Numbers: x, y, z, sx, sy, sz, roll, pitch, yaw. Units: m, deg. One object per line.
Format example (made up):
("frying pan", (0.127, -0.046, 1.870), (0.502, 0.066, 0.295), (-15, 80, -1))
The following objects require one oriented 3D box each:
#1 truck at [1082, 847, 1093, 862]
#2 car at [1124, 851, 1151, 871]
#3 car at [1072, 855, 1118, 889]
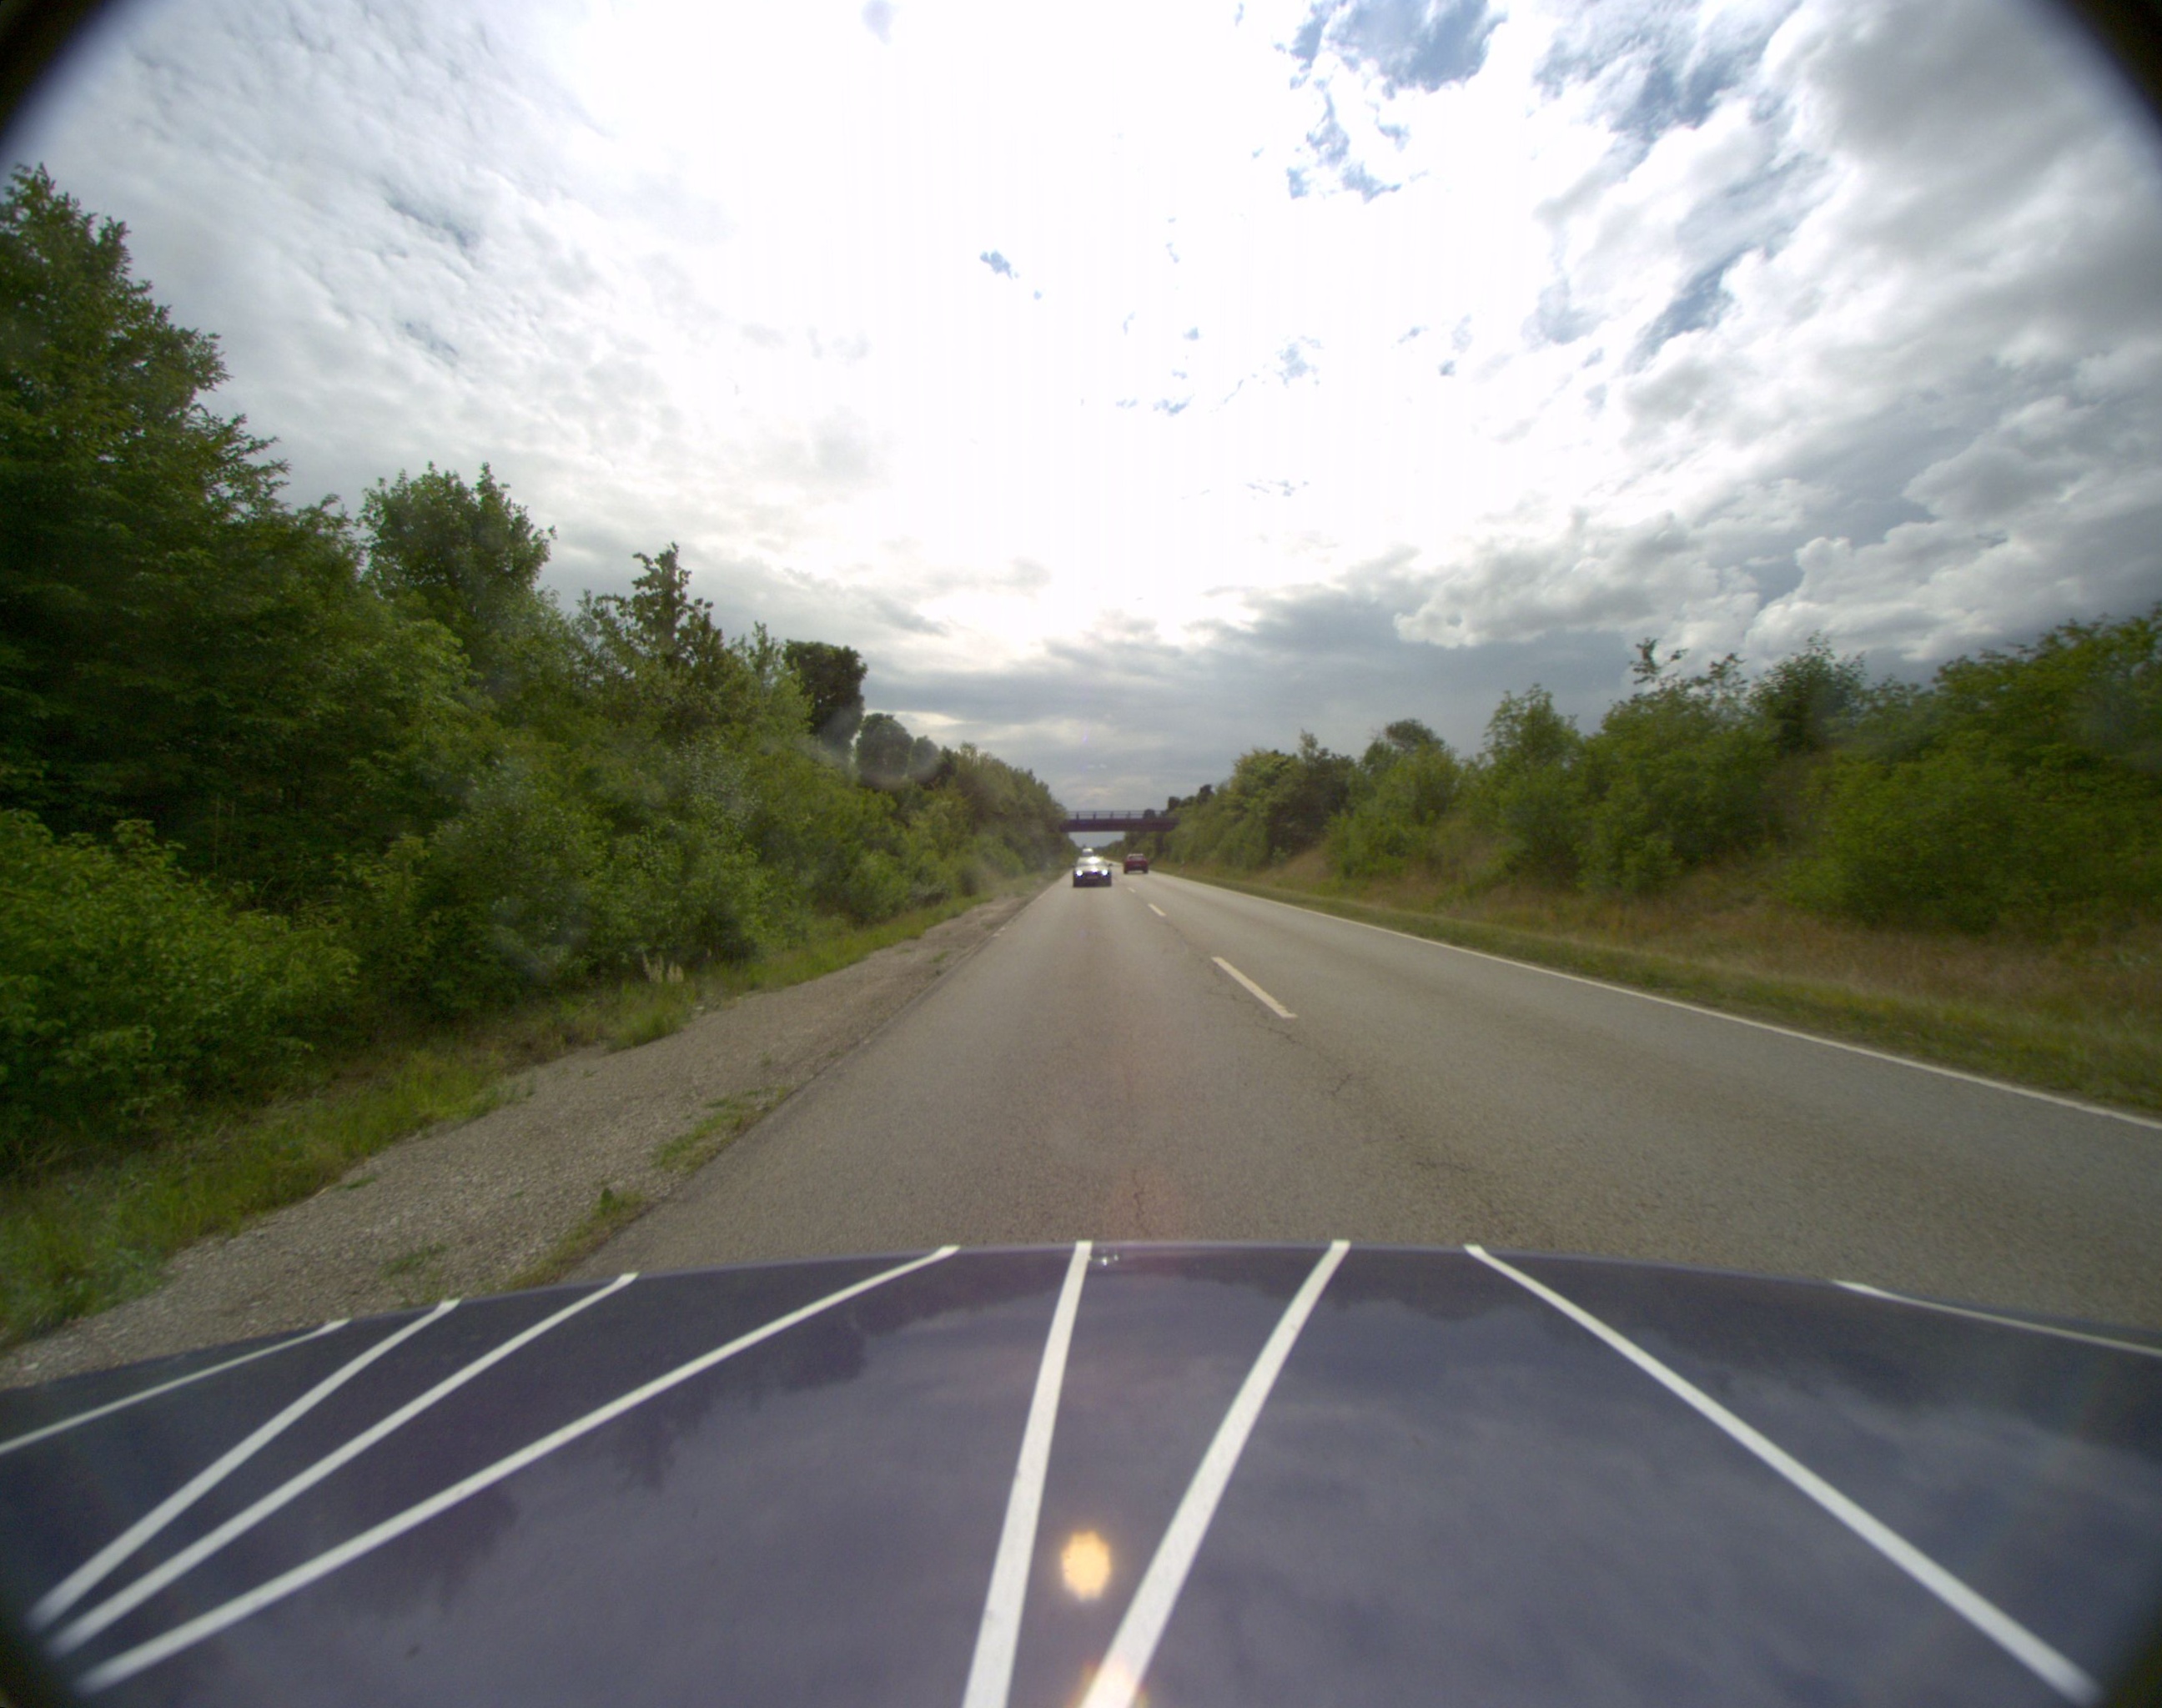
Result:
("truck", (1.235, 0.017, 136.194), (1.802, 2.518, 6.685), (-2, 1, 1))
("car", (4.420, 0.549, 60.171), (1.833, 1.456, 4.411), (-1, 0, 1))
("car", (0.664, 0.812, 36.285), (1.998, 1.436, 4.640), (-2, 1, 1))
